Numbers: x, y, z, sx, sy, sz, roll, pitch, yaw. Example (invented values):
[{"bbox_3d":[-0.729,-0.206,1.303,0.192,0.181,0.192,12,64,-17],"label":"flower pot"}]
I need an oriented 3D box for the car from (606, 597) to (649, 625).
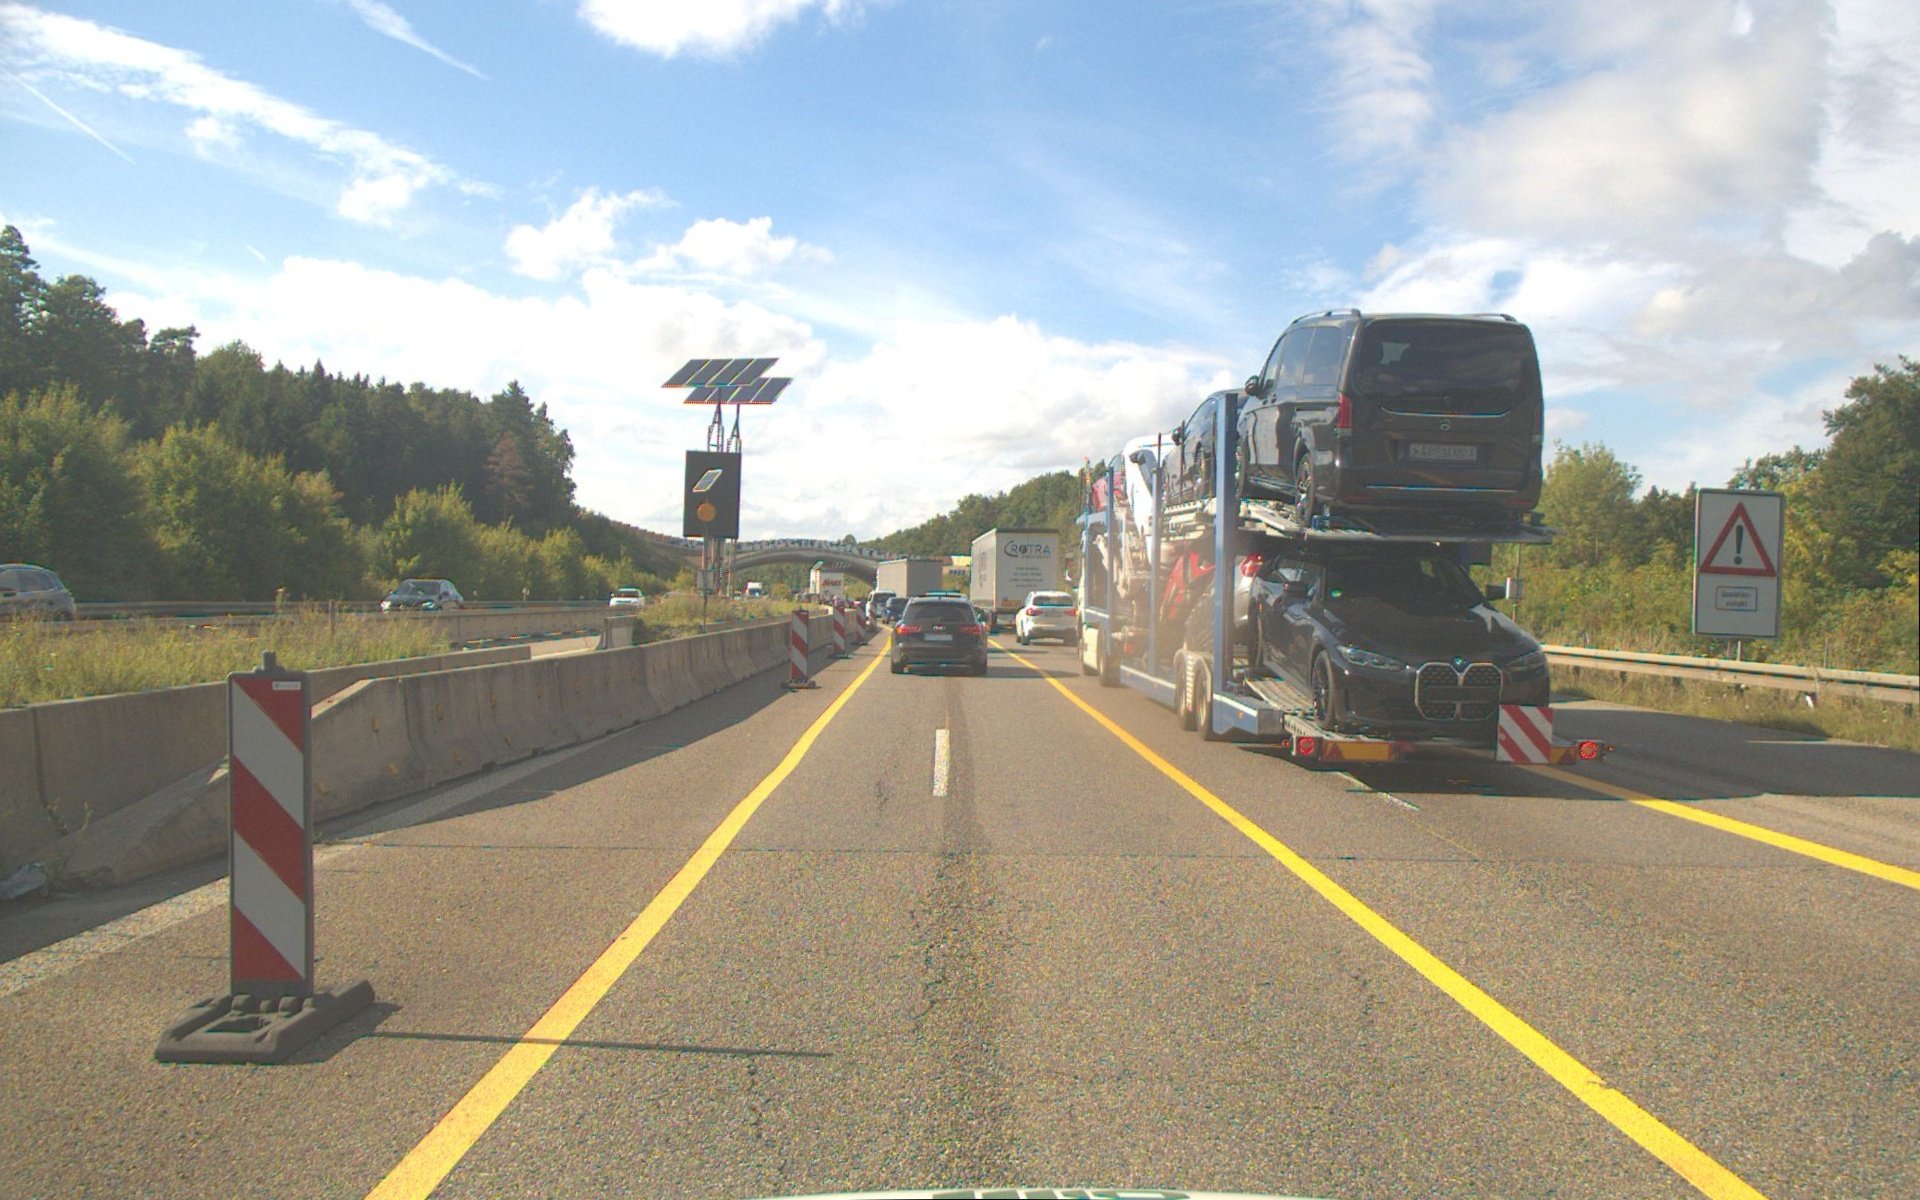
[{"bbox_3d":[-20.443,0.675,101.716,1.741,1.630,4.018,1,0,1],"label":"car"}]

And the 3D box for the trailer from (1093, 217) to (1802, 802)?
[{"bbox_3d":[4.284,-0.670,20.388,3.650,4.269,16.223,1,0,-1],"label":"trailer"}]

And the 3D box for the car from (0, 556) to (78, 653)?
[{"bbox_3d":[-16.870,0.061,27.903,1.741,1.630,4.018,1,0,1],"label":"car"}]

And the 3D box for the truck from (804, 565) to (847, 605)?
[{"bbox_3d":[-14.057,-1.499,172.282,3.587,3.997,11.043,1,0,-9],"label":"truck"}]

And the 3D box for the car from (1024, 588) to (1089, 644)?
[{"bbox_3d":[3.034,0.496,52.662,1.851,1.672,4.018,1,0,1],"label":"car"}]

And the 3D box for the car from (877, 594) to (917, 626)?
[{"bbox_3d":[-3.444,0.524,89.473,1.854,1.672,4.012,1,0,-6],"label":"car"}]

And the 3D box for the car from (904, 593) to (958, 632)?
[{"bbox_3d":[-1.188,0.482,65.595,1.853,1.472,3.995,1,0,-5],"label":"car"}]

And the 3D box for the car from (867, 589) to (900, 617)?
[{"bbox_3d":[-4.789,0.170,103.084,1.854,1.672,4.013,1,0,-6],"label":"car"}]

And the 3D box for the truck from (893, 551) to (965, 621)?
[{"bbox_3d":[-2.328,-0.978,117.684,4.236,4.681,11.111,1,0,-6],"label":"truck"}]

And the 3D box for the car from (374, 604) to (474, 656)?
[{"bbox_3d":[-17.901,0.977,55.446,1.918,1.616,4.481,1,0,-1],"label":"car"}]

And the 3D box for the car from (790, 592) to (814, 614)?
[{"bbox_3d":[-15.002,0.307,157.209,1.957,2.049,3.991,1,0,-10],"label":"car"}]

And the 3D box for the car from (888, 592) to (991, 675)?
[{"bbox_3d":[-0.350,0.609,32.082,1.851,1.472,4.000,1,0,1],"label":"car"}]

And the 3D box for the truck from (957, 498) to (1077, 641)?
[{"bbox_3d":[2.190,-1.179,72.072,3.604,5.447,16.189,1,0,-4],"label":"truck"}]

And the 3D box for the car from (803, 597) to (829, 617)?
[{"bbox_3d":[-12.399,0.572,142.250,1.747,1.630,4.004,1,0,-13],"label":"car"}]

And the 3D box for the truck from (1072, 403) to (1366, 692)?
[{"bbox_3d":[4.168,-0.786,28.802,3.685,4.269,7.949,1,0,-1],"label":"truck"}]

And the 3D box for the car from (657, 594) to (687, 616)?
[{"bbox_3d":[-22.008,0.343,126.350,1.743,1.630,4.672,1,0,-4],"label":"car"}]
